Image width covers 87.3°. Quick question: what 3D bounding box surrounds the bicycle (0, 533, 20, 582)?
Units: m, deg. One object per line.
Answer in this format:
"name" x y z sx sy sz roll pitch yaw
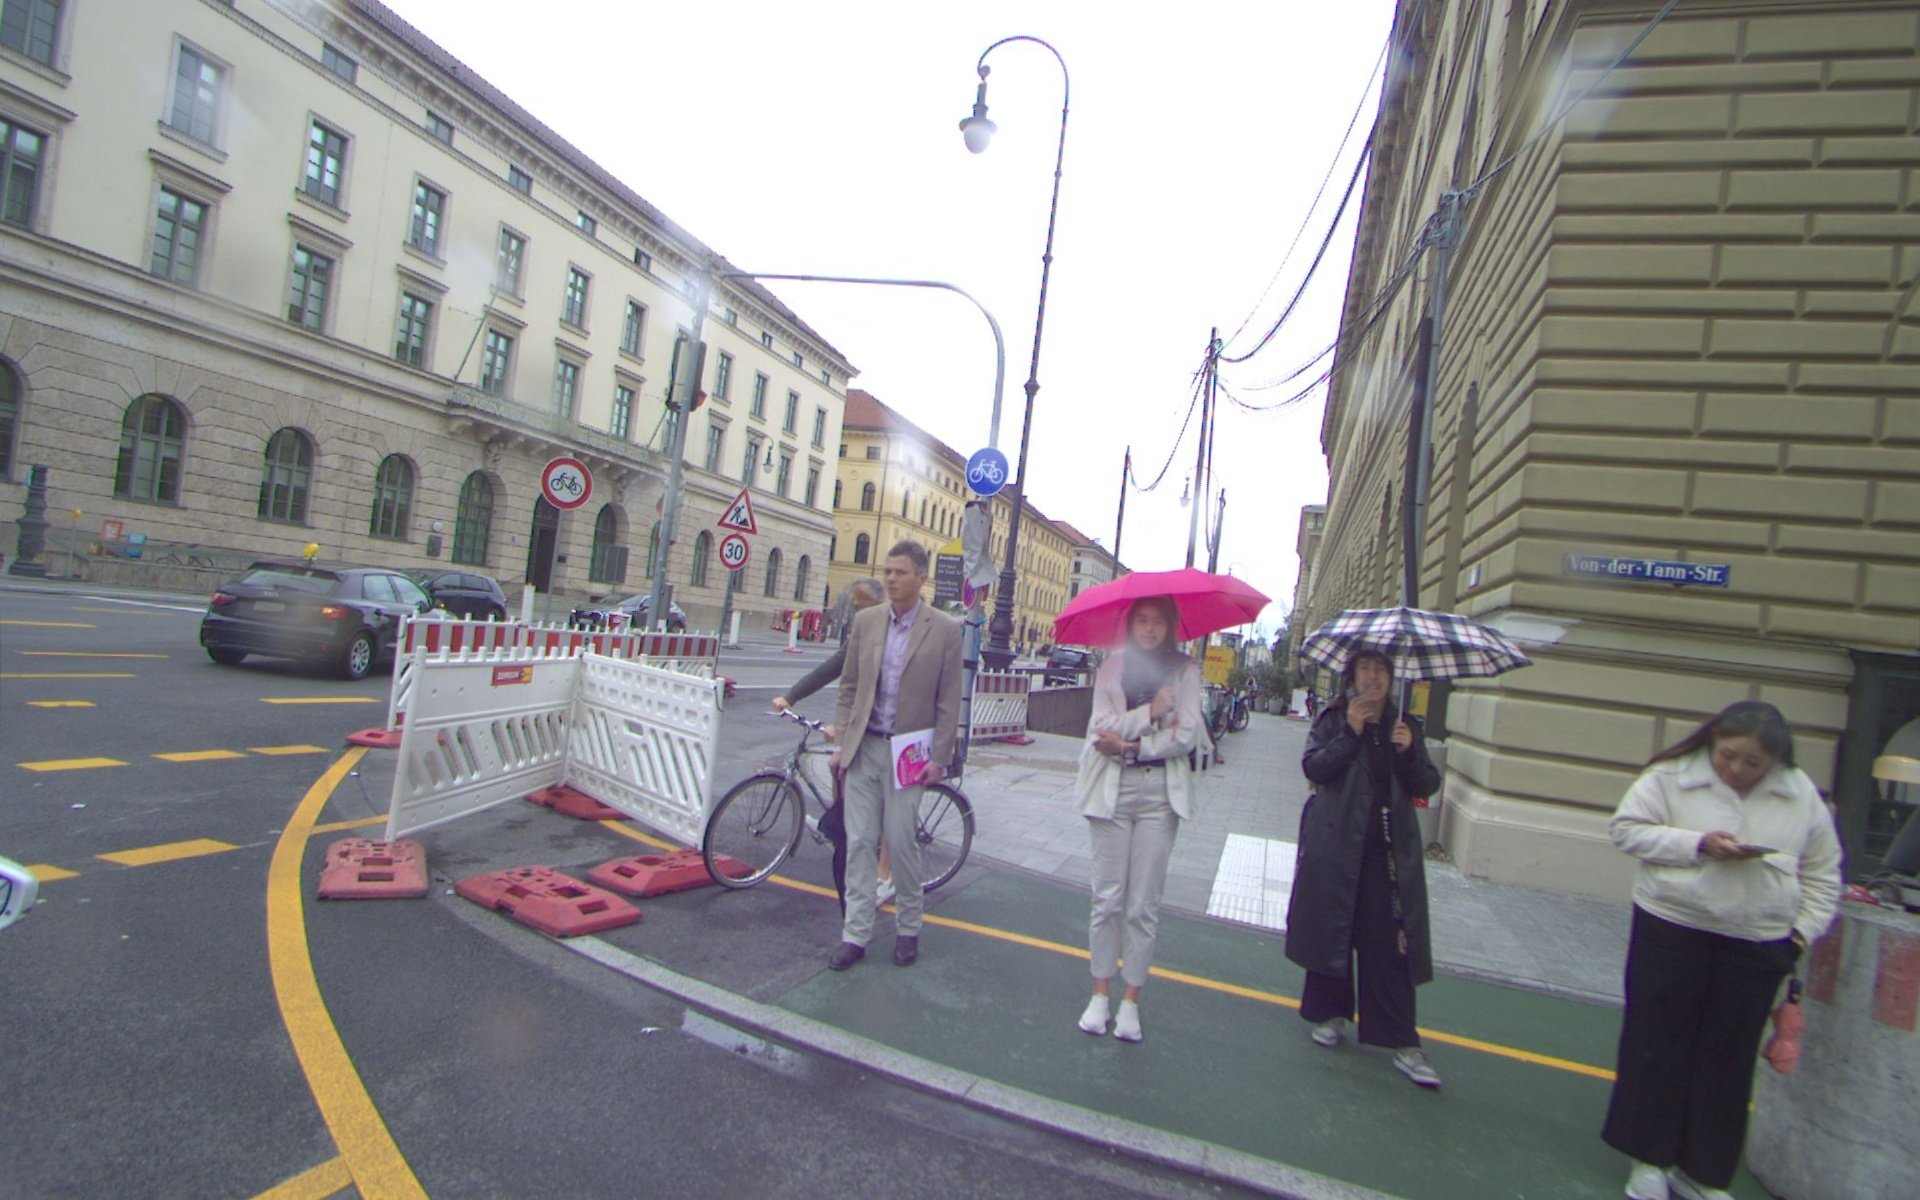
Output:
"bicycle" -22.099 -1.076 22.038 0.780 1.052 1.967 7 -3 21

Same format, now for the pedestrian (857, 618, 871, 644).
"pedestrian" -7.694 2.518 80.856 0.668 1.953 0.653 7 -2 15

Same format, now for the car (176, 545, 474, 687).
"car" -8.304 0.206 13.653 1.838 1.404 3.995 8 -1 -9

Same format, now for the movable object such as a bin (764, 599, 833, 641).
"movable object such as a bin" -10.097 1.320 63.520 1.488 2.036 5.984 7 -3 19

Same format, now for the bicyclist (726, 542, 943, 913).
"bicyclist" -0.687 0.686 5.494 0.791 1.874 0.563 9 -2 -30

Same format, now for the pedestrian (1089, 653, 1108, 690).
"pedestrian" 6.790 3.518 49.385 0.606 1.721 0.542 7 -2 21

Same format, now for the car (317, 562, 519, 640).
"car" -13.080 0.093 24.613 1.716 1.404 4.246 5 -3 18

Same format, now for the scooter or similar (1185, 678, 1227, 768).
"scooter or similar" 3.705 1.834 15.123 0.344 1.264 1.141 7 -2 21

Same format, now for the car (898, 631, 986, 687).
"car" -0.567 2.153 35.831 1.741 1.634 4.005 7 -3 19

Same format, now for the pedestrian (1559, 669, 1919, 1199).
"pedestrian" 2.405 1.082 3.149 0.661 1.638 0.533 7 -2 20

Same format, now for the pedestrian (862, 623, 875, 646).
"pedestrian" -7.066 2.642 77.718 0.602 1.671 0.618 7 -2 15

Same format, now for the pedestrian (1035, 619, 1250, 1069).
"pedestrian" 0.773 0.925 4.112 0.573 1.585 0.705 7 -2 20

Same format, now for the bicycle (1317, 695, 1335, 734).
"bicycle" 10.831 3.377 29.779 0.371 1.034 1.651 7 -1 21

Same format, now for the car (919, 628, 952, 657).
"car" -2.352 4.120 96.804 1.712 2.314 4.005 7 -3 19

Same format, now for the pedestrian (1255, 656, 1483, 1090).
"pedestrian" 1.729 1.086 4.317 0.669 1.585 0.705 7 -2 20

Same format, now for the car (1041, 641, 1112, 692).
"car" 4.767 2.691 40.748 2.036 1.680 4.227 8 -2 16

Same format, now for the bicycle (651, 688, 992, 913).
"bicycle" -0.726 1.100 5.483 1.640 1.023 0.582 9 -2 -30

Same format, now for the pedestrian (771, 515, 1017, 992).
"pedestrian" -0.271 0.644 4.542 0.629 1.906 0.705 7 -2 23

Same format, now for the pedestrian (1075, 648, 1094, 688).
"pedestrian" 6.139 3.353 49.654 0.606 1.896 0.541 7 -2 23

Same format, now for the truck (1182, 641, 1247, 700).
"truck" 14.636 4.095 57.557 2.582 2.795 5.812 7 -3 22

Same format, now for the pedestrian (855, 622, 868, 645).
"pedestrian" -7.623 2.567 77.859 0.544 1.695 0.618 7 -2 15

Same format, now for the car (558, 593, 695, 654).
"car" -10.626 0.819 32.440 1.758 1.585 4.580 5 -3 18
